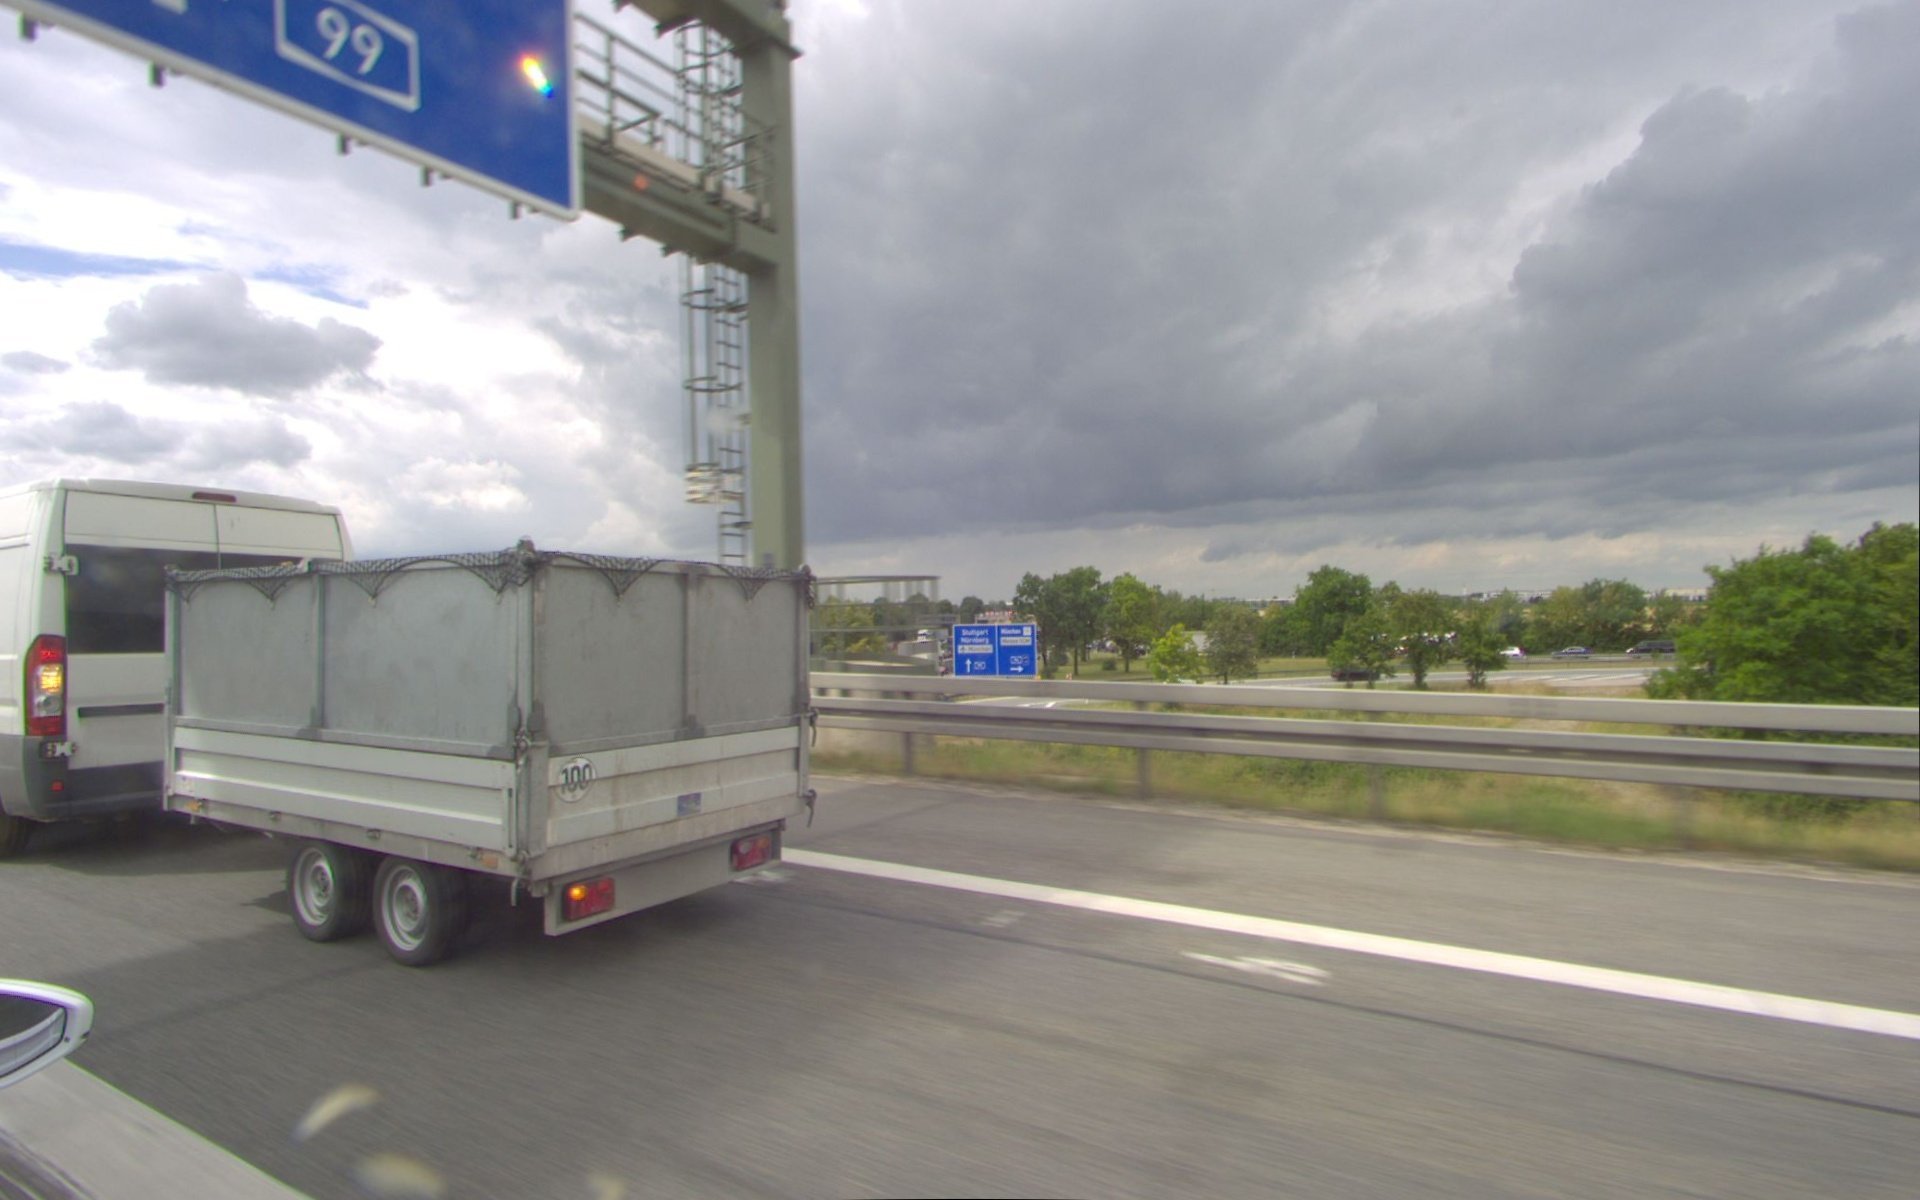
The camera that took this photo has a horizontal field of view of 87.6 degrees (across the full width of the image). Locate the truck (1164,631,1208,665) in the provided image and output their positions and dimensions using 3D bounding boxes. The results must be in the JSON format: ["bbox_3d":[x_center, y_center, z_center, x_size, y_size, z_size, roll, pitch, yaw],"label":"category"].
[{"bbox_3d":[36.424,7.674,161.539,3.799,5.380,6.421,0,-2,-25],"label":"truck"}]

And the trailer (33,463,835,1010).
[{"bbox_3d":[-3.105,0.555,5.682,4.561,2.039,1.853,-1,-1,29],"label":"trailer"}]

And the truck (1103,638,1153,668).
[{"bbox_3d":[30.143,9.376,180.231,3.881,5.105,12.986,1,-2,-15],"label":"truck"}]

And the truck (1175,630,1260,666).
[{"bbox_3d":[39.654,7.383,155.299,3.804,5.281,14.791,1,-2,-28],"label":"truck"}]

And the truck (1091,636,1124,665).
[{"bbox_3d":[27.779,9.542,188.833,3.790,5.380,6.436,0,-2,-16],"label":"truck"}]

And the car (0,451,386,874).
[{"bbox_3d":[-7.563,0.425,8.346,6.060,2.485,2.111,-1,-1,31],"label":"car"}]

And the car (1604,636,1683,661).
[{"bbox_3d":[75.561,5.306,110.719,7.008,2.602,2.744,-1,-2,41],"label":"car"}]

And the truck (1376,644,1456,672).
[{"bbox_3d":[58.950,7.453,129.789,3.305,3.410,8.951,1,-2,-40],"label":"truck"}]
